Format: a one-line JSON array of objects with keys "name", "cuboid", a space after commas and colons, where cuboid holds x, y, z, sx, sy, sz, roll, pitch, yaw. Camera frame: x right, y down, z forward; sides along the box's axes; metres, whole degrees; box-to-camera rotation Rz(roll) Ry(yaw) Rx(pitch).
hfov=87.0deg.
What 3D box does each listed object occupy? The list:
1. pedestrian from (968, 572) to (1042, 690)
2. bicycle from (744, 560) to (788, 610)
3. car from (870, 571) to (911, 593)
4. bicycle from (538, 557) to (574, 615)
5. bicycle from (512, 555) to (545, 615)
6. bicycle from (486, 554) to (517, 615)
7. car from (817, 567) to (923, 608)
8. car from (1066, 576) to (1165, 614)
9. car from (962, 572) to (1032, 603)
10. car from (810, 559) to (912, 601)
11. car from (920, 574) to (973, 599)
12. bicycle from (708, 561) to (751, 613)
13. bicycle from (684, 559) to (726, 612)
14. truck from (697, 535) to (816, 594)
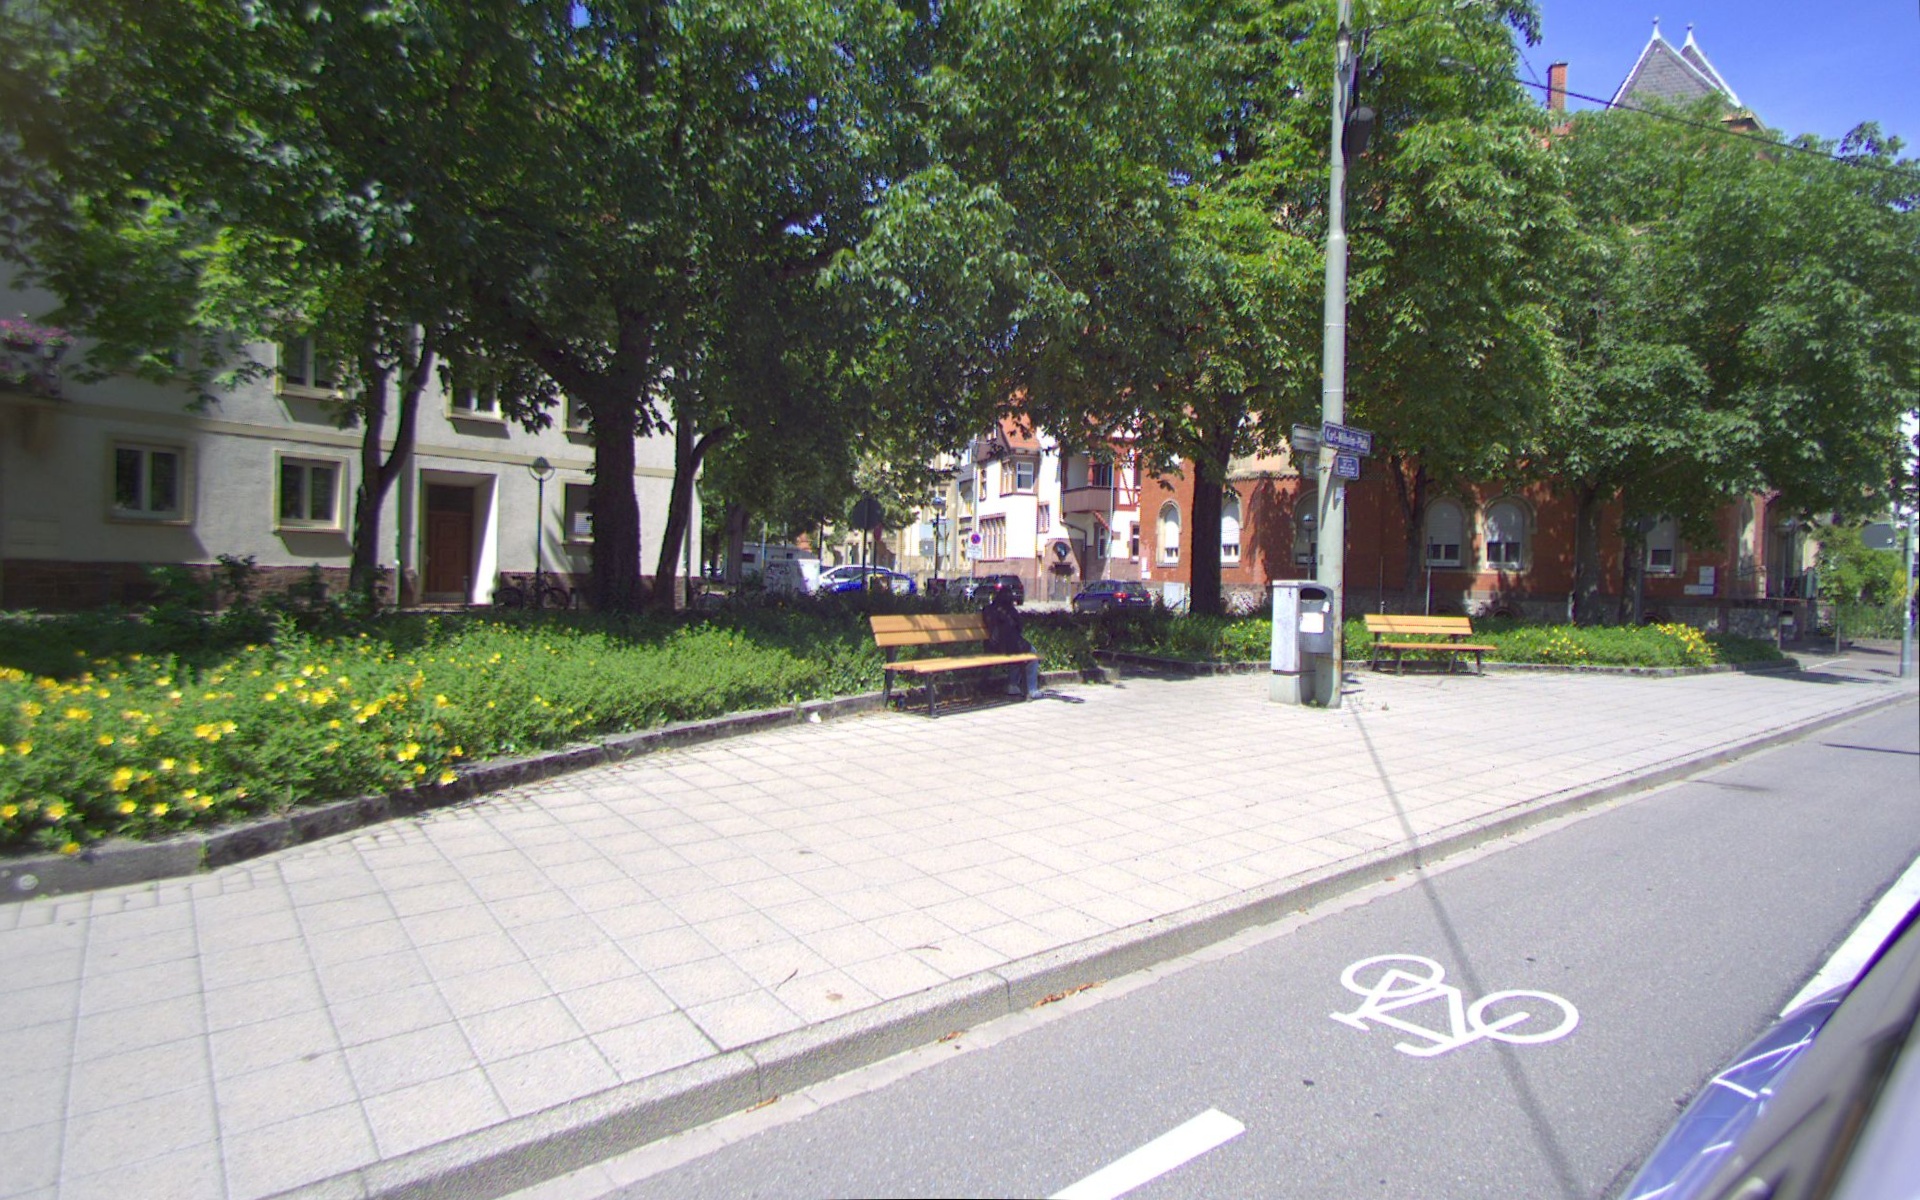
[{"name": "pedestrian", "cuboid": [0.440, 0.298, 9.996, 0.469, 1.105, 0.511, 2, 2, -34]}, {"name": "bicycle", "cuboid": [-5.242, -0.413, 27.238, 0.536, 1.316, 2.162, 0, 1, -28]}, {"name": "car", "cuboid": [-5.148, -1.349, 74.421, 1.865, 1.575, 4.411, 0, 1, -21]}, {"name": "bicycle", "cuboid": [-9.594, -0.352, 23.993, 0.536, 1.316, 2.162, 0, 1, -28]}, {"name": "bicycle", "cuboid": [-10.245, -0.360, 23.994, 0.505, 1.364, 2.247, 0, 1, -28]}, {"name": "bicycle", "cuboid": [-10.766, -0.370, 23.744, 0.505, 1.361, 2.332, 0, 1, -28]}, {"name": "car", "cuboid": [-3.553, -0.490, 39.990, 3.807, 1.447, 1.731, 2, 0, -21]}, {"name": "car", "cuboid": [6.234, -0.242, 41.189, 1.865, 1.459, 4.769, 0, 1, -21]}, {"name": "car", "cuboid": [1.926, -0.703, 54.587, 1.946, 1.551, 5.503, 0, 1, -19]}, {"name": "car", "cuboid": [-4.398, -0.886, 45.074, 4.176, 1.673, 1.731, 2, 0, -21]}, {"name": "car", "cuboid": [-0.899, -0.881, 63.532, 1.865, 1.482, 4.626, 0, 1, -21]}, {"name": "bicycle", "cuboid": [-6.099, -0.366, 26.709, 0.536, 1.316, 2.162, 0, 1, -28]}, {"name": "bicycle", "cuboid": [-6.680, -0.384, 26.446, 0.536, 1.316, 2.162, 0, 1, -28]}, {"name": "truck", "cuboid": [-12.165, -2.098, 60.580, 6.685, 3.193, 1.939, 2, 0, -19]}]
